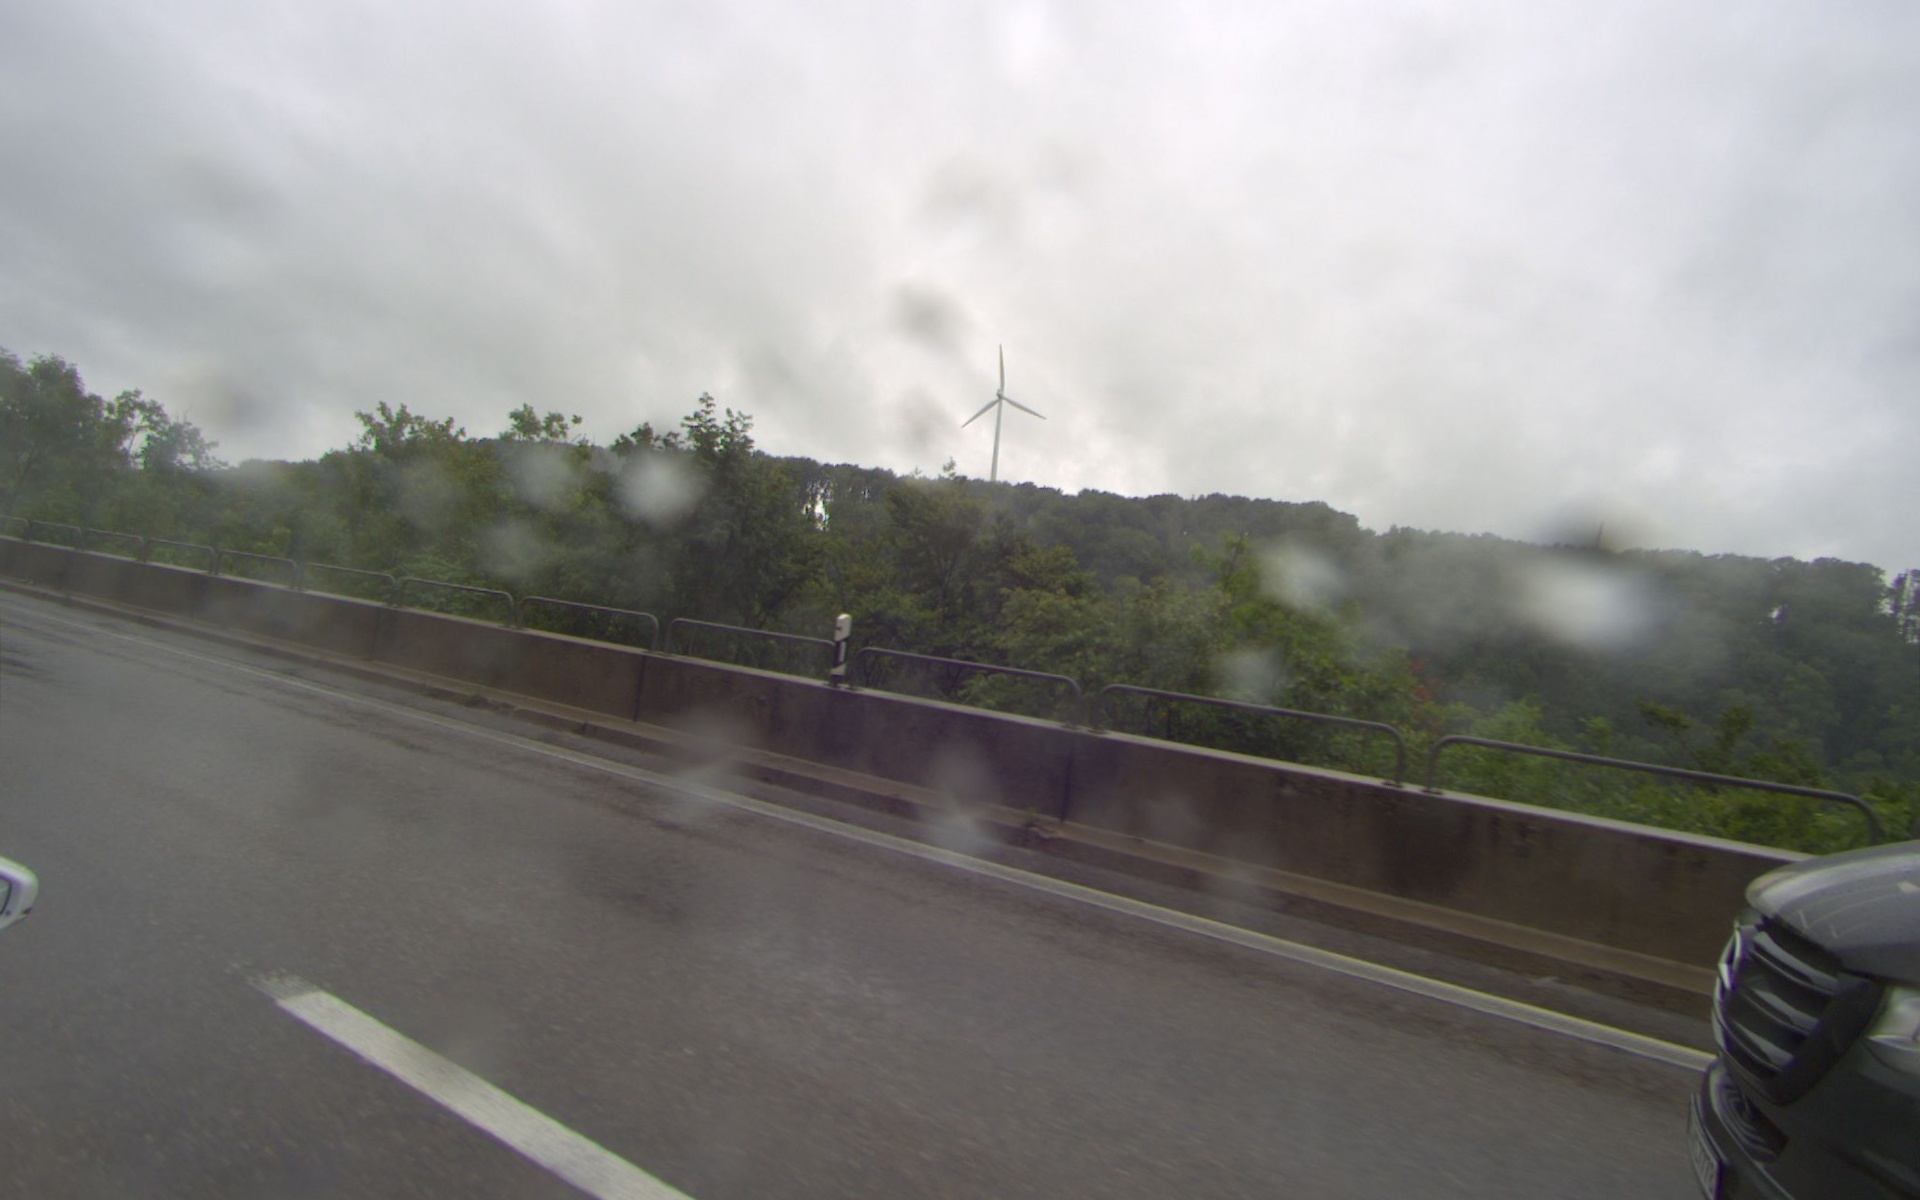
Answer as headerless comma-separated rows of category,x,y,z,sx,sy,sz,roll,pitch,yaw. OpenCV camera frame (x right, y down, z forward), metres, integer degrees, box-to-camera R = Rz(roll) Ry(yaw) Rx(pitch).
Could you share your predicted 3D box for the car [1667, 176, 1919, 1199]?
car,4.946,0.813,0.969,6.593,2.524,1.997,7,0,31
